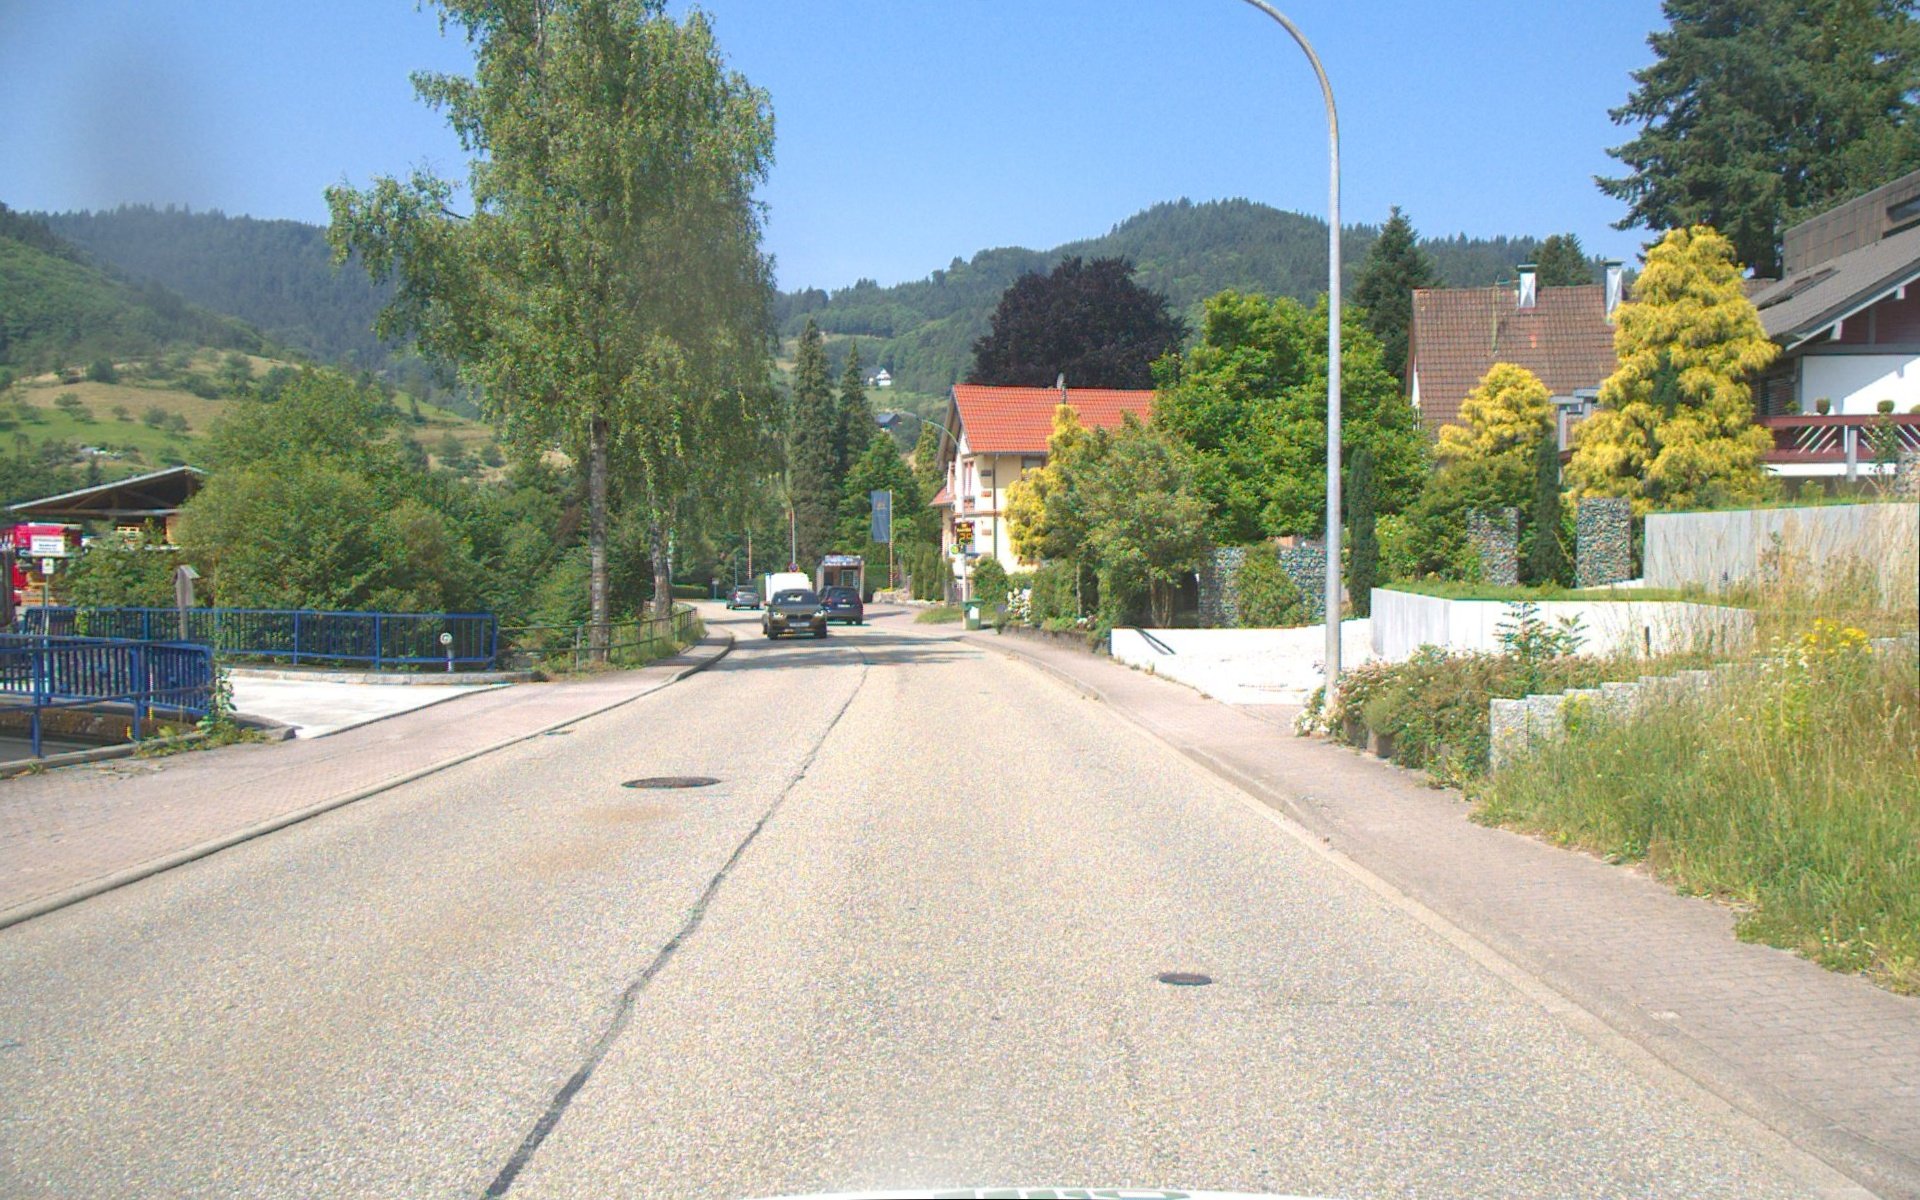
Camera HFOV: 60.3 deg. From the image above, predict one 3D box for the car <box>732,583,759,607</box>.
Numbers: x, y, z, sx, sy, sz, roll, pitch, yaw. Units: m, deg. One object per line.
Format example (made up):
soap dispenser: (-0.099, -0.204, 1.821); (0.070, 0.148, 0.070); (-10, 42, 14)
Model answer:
car: (-13.295, -0.302, 102.510); (1.598, 1.447, 3.392); (0, 0, -8)

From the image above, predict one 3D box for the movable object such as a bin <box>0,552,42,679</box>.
movable object such as a bin: (-16.762, 0.267, 28.002); (2.078, 2.108, 1.135); (-1, 0, 27)

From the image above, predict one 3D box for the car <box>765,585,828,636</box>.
car: (-5.191, 0.316, 52.871); (1.777, 1.527, 4.147); (-1, 0, -3)

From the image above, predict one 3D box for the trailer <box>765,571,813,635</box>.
trailer: (-5.859, 0.083, 56.973); (1.438, 2.114, 3.668); (-1, 0, -3)

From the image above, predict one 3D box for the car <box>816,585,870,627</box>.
car: (-5.024, 0.234, 70.478); (1.885, 1.728, 3.779); (-1, 0, -10)

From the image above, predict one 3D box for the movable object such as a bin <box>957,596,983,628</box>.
movable object such as a bin: (0.348, 0.417, 57.958); (0.794, 1.060, 0.578); (-1, 1, -9)
